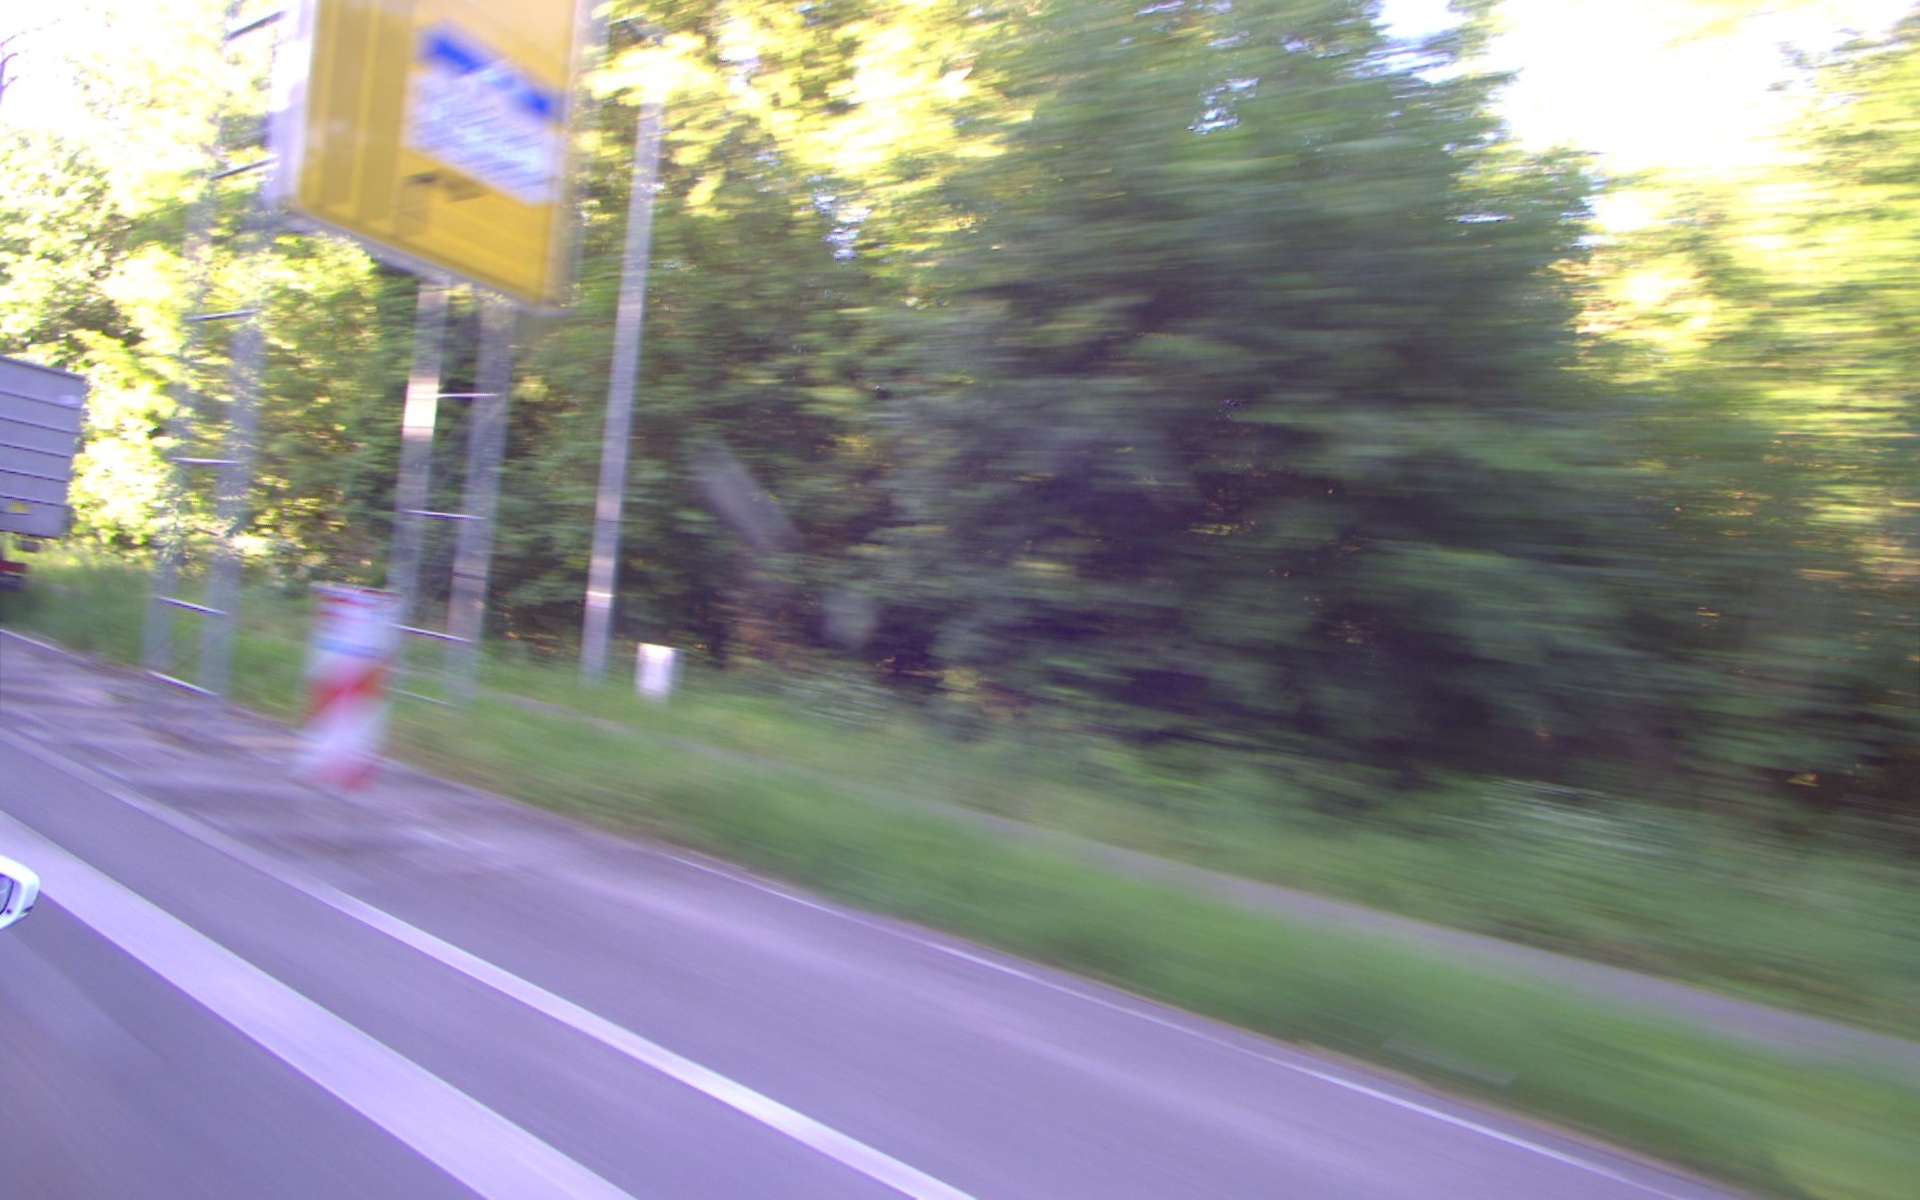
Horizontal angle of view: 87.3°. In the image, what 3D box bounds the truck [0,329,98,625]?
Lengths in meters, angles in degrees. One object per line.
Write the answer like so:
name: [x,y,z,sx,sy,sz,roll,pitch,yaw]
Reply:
truck: [-14.534,-1.832,13.321,6.990,3.406,2.509,6,-1,32]
